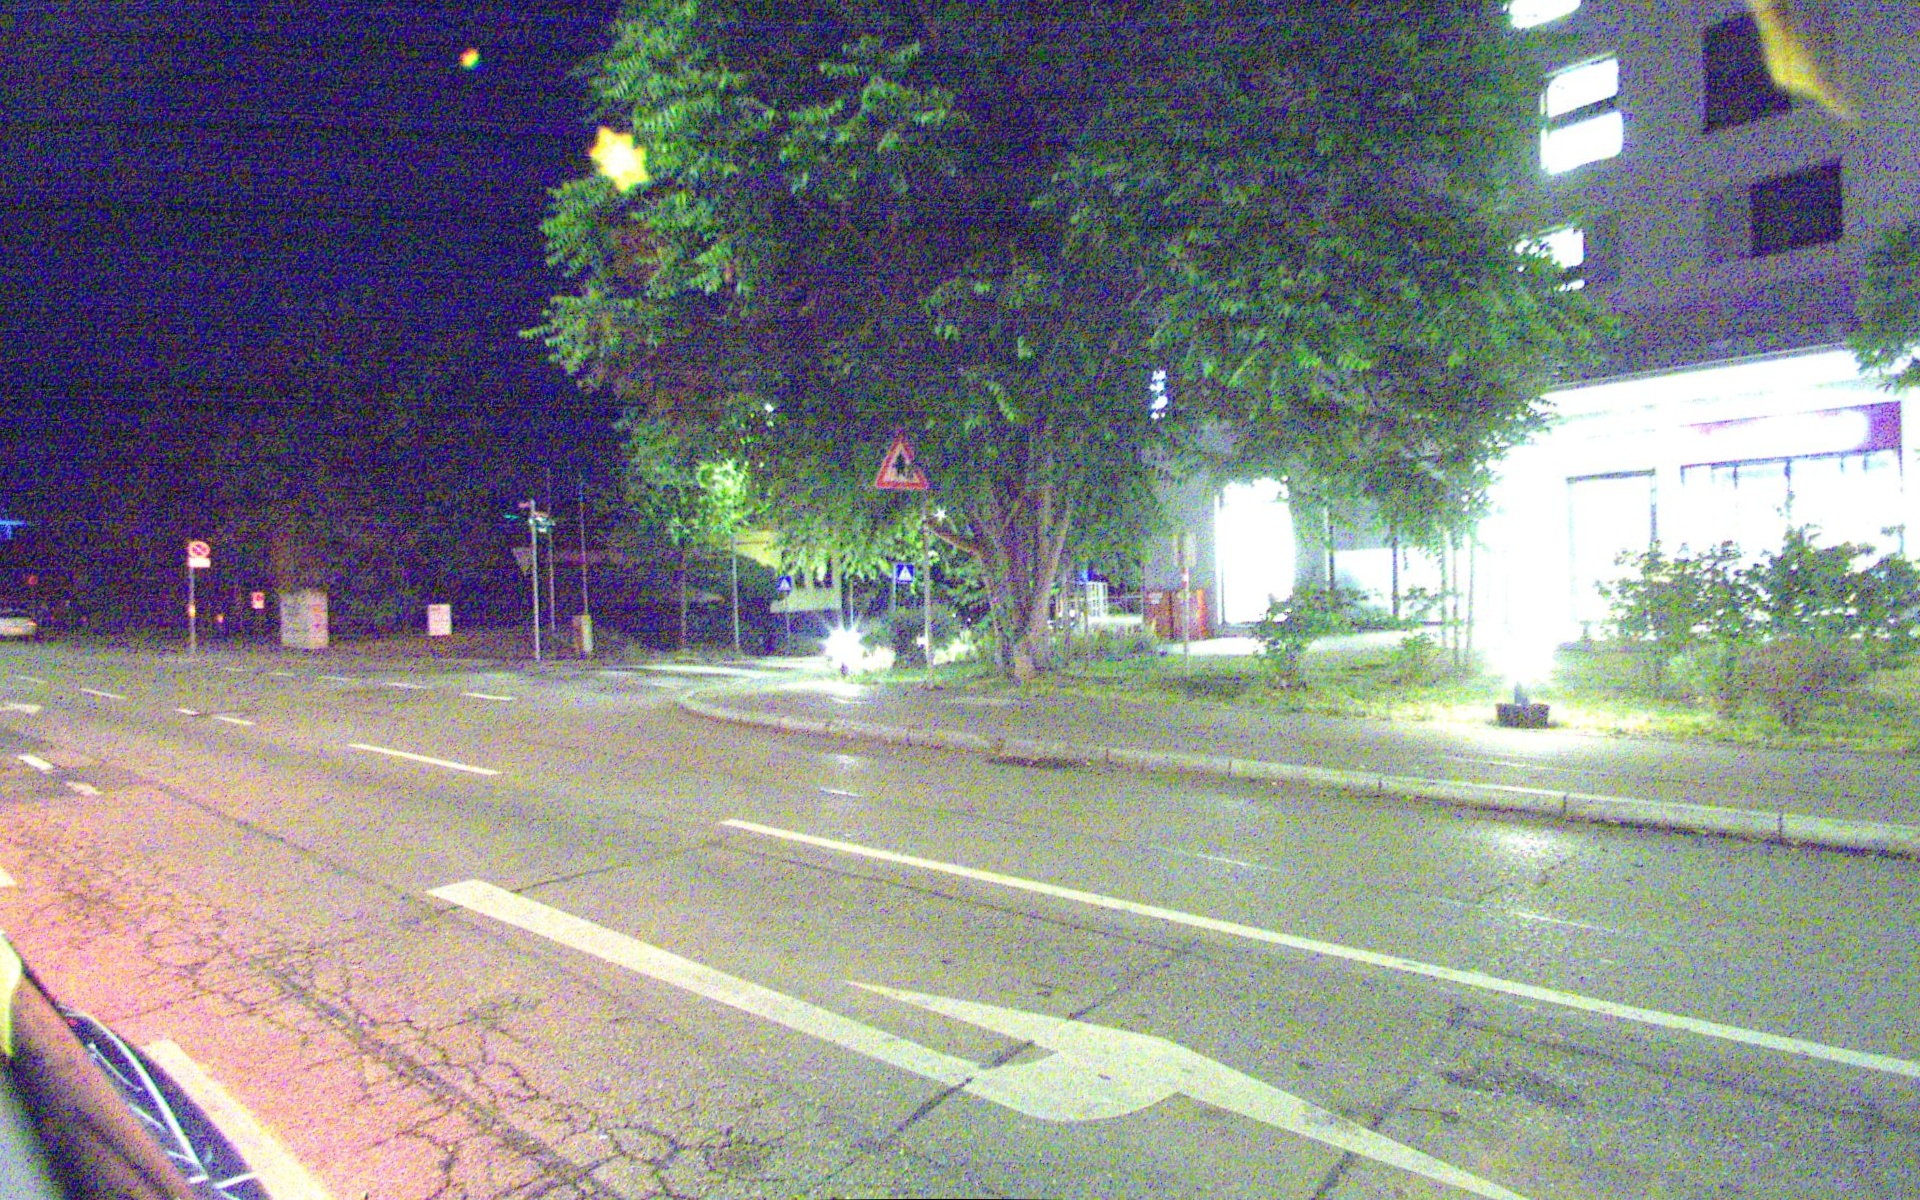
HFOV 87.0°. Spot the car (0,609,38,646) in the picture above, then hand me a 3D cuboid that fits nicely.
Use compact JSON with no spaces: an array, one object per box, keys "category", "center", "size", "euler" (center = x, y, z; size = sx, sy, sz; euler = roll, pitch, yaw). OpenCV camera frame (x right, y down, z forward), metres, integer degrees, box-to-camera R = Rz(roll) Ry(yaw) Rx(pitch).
[{"category":"car","center":[-43.267,1.229,45.786],"size":[3.998,1.464,1.887],"euler":[1,2,41]}]
